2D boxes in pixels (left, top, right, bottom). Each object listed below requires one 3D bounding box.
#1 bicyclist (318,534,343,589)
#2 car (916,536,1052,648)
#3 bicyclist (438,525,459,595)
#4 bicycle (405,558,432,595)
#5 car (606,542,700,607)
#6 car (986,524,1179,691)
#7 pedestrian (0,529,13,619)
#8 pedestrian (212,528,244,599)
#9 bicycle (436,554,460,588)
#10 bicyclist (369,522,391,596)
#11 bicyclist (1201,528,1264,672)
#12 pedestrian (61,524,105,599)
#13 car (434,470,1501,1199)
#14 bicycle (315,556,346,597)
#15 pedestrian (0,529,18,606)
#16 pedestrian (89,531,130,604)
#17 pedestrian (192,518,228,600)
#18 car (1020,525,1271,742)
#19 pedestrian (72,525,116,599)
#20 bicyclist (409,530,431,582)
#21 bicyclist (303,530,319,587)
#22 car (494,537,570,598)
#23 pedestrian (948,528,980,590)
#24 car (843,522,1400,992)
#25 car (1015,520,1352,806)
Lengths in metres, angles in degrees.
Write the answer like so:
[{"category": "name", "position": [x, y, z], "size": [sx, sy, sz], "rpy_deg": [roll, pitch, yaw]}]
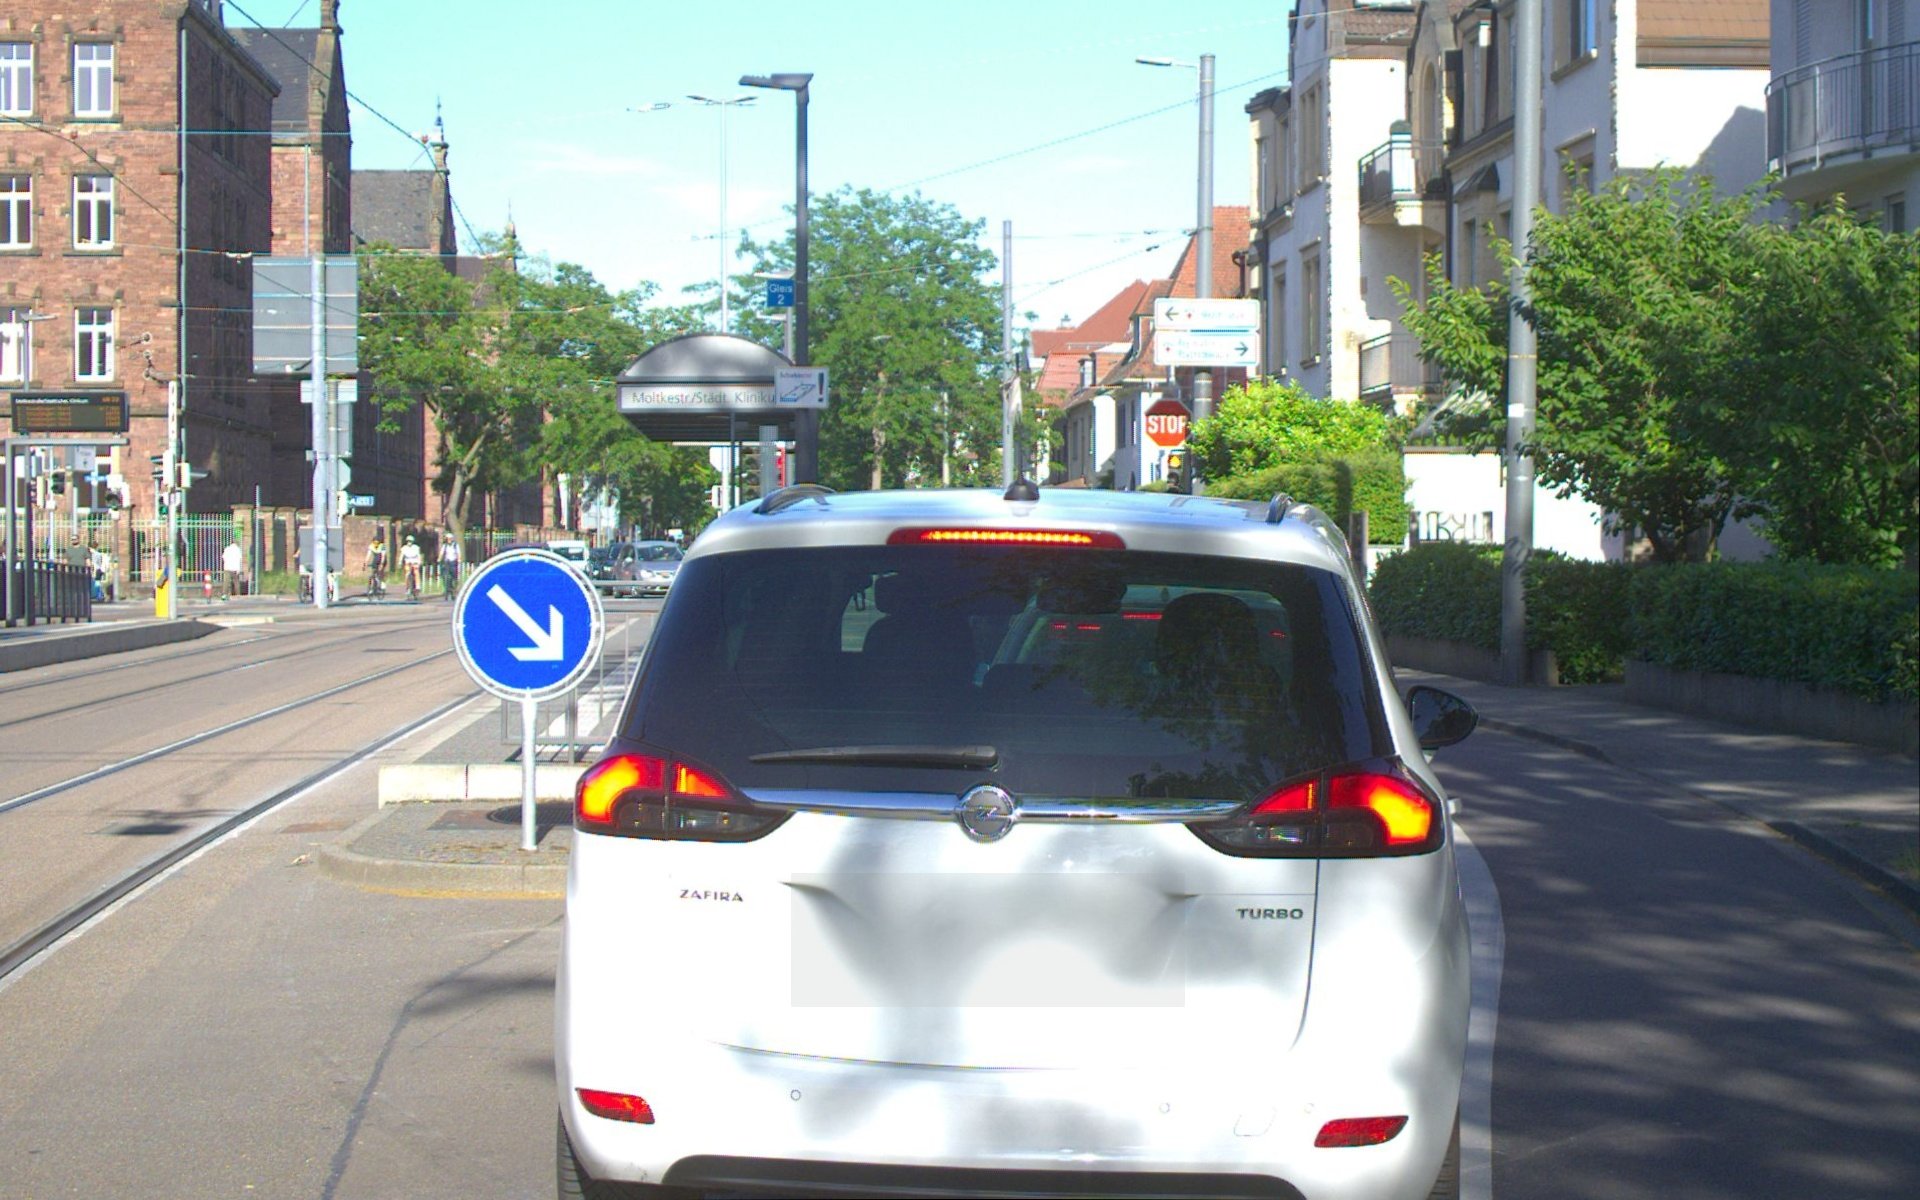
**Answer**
[{"category": "bicyclist", "position": [-16.721, -1.024, 91.332], "size": [0.531, 1.472, 0.572], "rpy_deg": [1, 0, -1]}, {"category": "car", "position": [0.329, -0.151, 53.093], "size": [1.907, 1.656, 4.001], "rpy_deg": [0, 1, -2]}, {"category": "bicyclist", "position": [-14.805, -1.150, 99.517], "size": [0.488, 2.007, 0.502], "rpy_deg": [1, 0, -1]}, {"category": "bicycle", "position": [-15.647, -0.685, 99.404], "size": [0.509, 1.073, 1.739], "rpy_deg": [1, 1, -1]}, {"category": "car", "position": [-8.409, -0.715, 93.964], "size": [1.746, 1.710, 4.001], "rpy_deg": [1, 1, -17]}, {"category": "car", "position": [1.236, 0.036, 36.115], "size": [1.907, 1.656, 4.000], "rpy_deg": [0, 1, 1]}, {"category": "pedestrian", "position": [-21.566, -0.586, 76.747], "size": [0.794, 2.007, 1.047], "rpy_deg": [1, 0, -15]}, {"category": "pedestrian", "position": [-20.664, -1.026, 97.064], "size": [0.689, 2.007, 0.617], "rpy_deg": [1, 0, 5]}, {"category": "bicycle", "position": [-14.806, -0.838, 99.457], "size": [0.487, 0.968, 1.405], "rpy_deg": [1, 1, 0]}, {"category": "bicyclist", "position": [-15.875, -1.111, 94.092], "size": [0.498, 2.007, 0.572], "rpy_deg": [1, 0, -1]}, {"category": "bicyclist", "position": [3.157, -0.002, 39.849], "size": [0.676, 1.652, 0.745], "rpy_deg": [0, 1, 0]}, {"category": "pedestrian", "position": [-22.208, -0.974, 87.071], "size": [0.808, 1.894, 0.743], "rpy_deg": [1, 0, 14]}, {"category": "car", "position": [0.226, 0.561, 8.105], "size": [1.907, 1.656, 3.999], "rpy_deg": [0, 1, 7]}, {"category": "bicycle", "position": [-16.716, -0.619, 91.306], "size": [0.509, 1.073, 1.739], "rpy_deg": [1, 1, -1]}, {"category": "pedestrian", "position": [-22.398, -0.764, 80.235], "size": [0.766, 1.768, 0.721], "rpy_deg": [1, 0, -17]}, {"category": "pedestrian", "position": [-23.341, -0.887, 94.373], "size": [0.719, 2.007, 0.796], "rpy_deg": [1, 0, 29]}, {"category": "pedestrian", "position": [-18.540, -1.007, 84.976], "size": [0.794, 2.007, 0.721], "rpy_deg": [1, 0, -17]}, {"category": "car", "position": [1.561, 0.218, 28.278], "size": [1.907, 1.656, 4.000], "rpy_deg": [0, 1, 4]}, {"category": "pedestrian", "position": [-22.387, -0.980, 88.880], "size": [0.808, 1.894, 0.743], "rpy_deg": [1, 0, 14]}, {"category": "bicyclist", "position": [-15.624, -1.275, 99.491], "size": [0.531, 1.472, 0.572], "rpy_deg": [1, 0, -1]}, {"category": "bicyclist", "position": [-16.302, -1.039, 86.362], "size": [0.313, 1.439, 0.384], "rpy_deg": [1, 0, -1]}, {"category": "car", "position": [-12.451, -0.955, 100.231], "size": [1.746, 1.710, 4.000], "rpy_deg": [1, 1, -1]}, {"category": "pedestrian", "position": [0.116, -1.270, 106.256], "size": [0.808, 1.894, 0.743], "rpy_deg": [1, 0, 14]}, {"category": "car", "position": [0.778, 0.495, 13.778], "size": [1.907, 1.592, 3.999], "rpy_deg": [0, 1, 7]}, {"category": "car", "position": [1.498, 0.321, 21.618], "size": [1.907, 1.619, 3.999], "rpy_deg": [0, 1, 7]}]
